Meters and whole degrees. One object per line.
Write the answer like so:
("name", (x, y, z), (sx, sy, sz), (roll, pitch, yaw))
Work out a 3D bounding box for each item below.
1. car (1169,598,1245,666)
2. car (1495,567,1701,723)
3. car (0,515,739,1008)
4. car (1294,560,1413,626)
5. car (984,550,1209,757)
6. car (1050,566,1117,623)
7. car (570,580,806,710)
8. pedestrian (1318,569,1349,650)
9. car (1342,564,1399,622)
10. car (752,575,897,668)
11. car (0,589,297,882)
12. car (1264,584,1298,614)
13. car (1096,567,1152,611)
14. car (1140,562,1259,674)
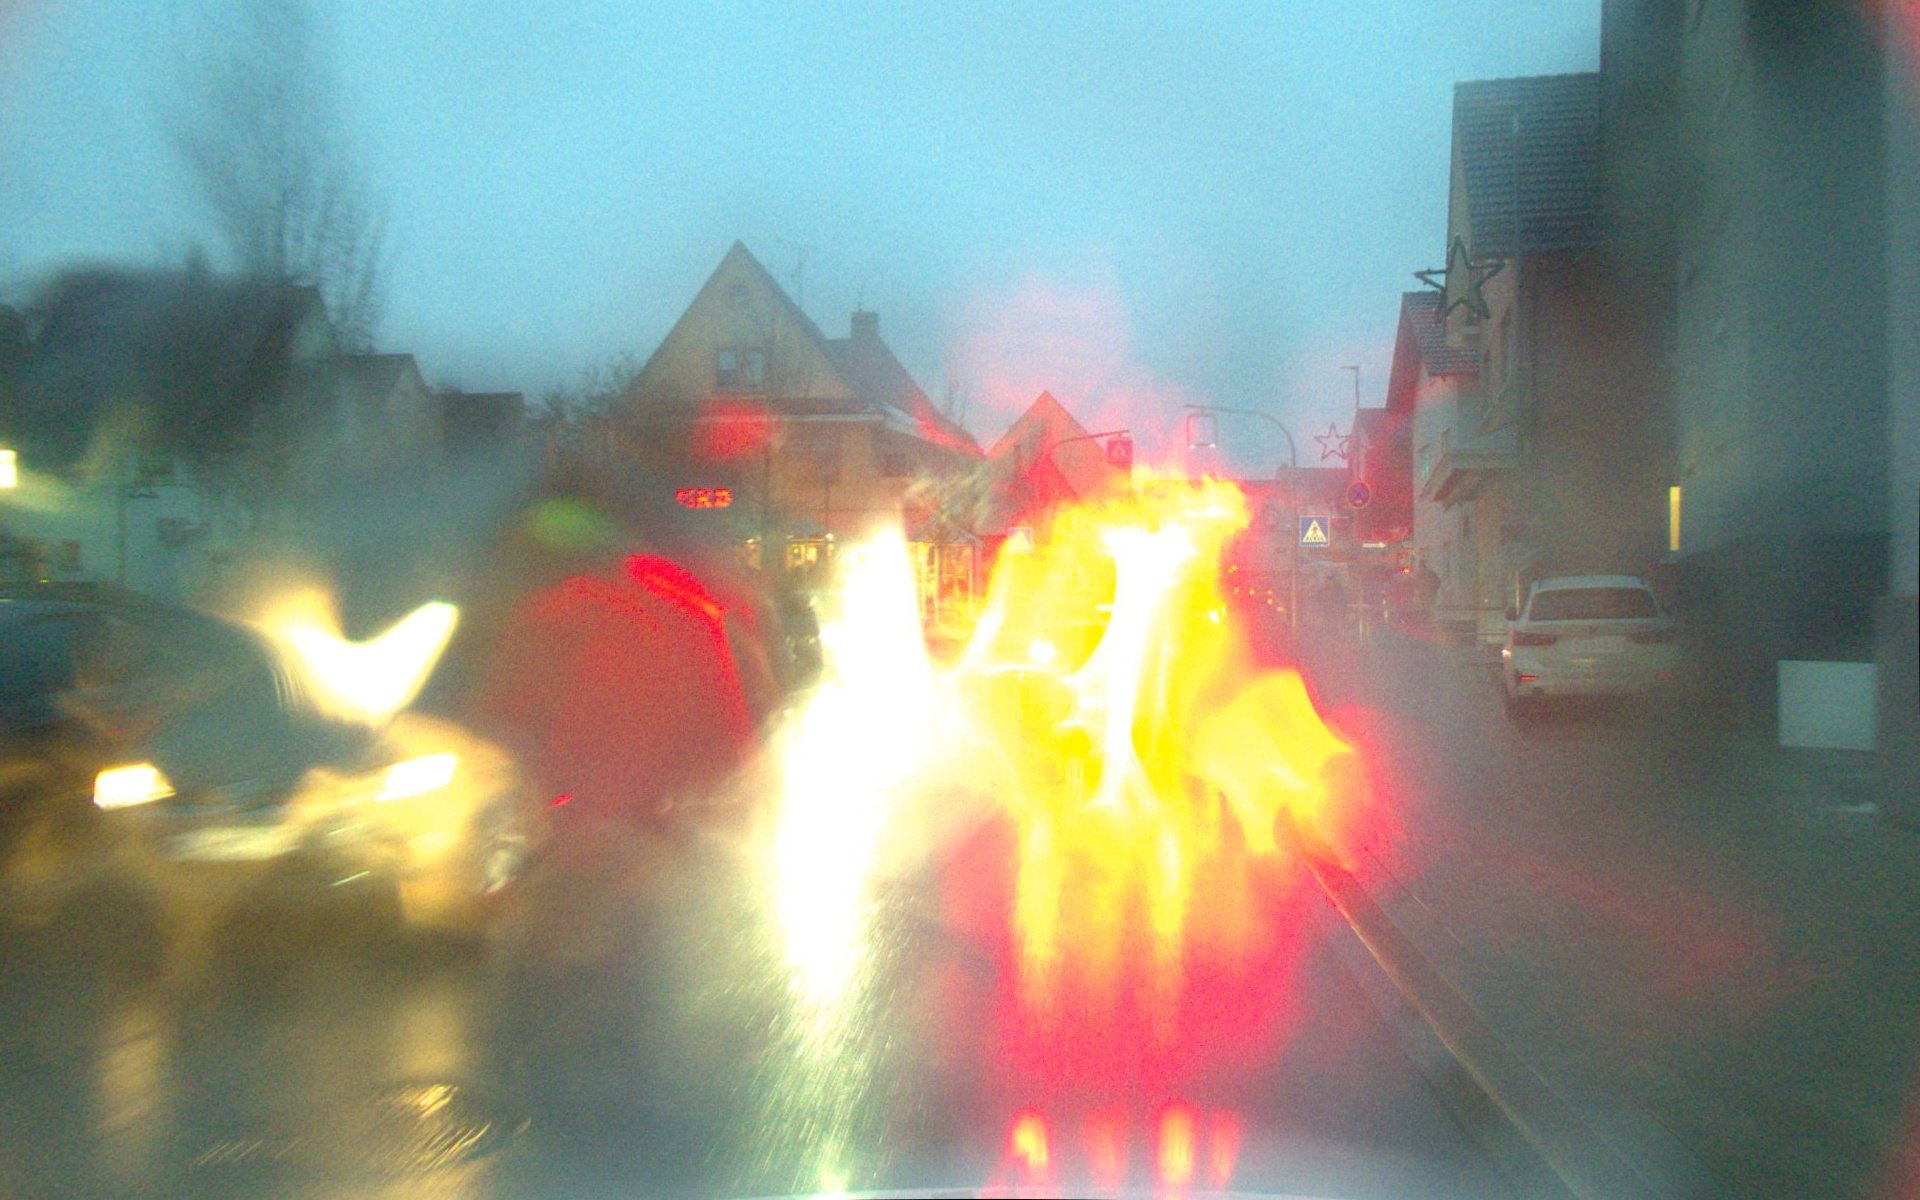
("car", (5.662, 0.697, 38.270), (1.614, 1.467, 3.869), (-1, 0, 7))
("car", (7.024, 0.419, 18.455), (1.844, 1.492, 4.544), (-2, 0, 19))
("car", (-2.787, 0.629, 8.922), (2.096, 1.893, 4.746), (-2, 0, 5))
("car", (12.575, -0.222, 52.906), (3.618, 2.049, 1.690), (1, 0, 14))
("car", (1.551, 0.439, 16.996), (1.951, 1.827, 4.652), (-1, 1, 9))
("car", (4.728, -0.206, 62.649), (1.951, 2.049, 4.365), (0, 0, 12))
("car", (-3.528, 0.535, 22.327), (1.711, 1.543, 4.346), (1, 0, 11))
("pedestrian", (9.014, 0.228, 39.890), (0.649, 1.921, 0.824), (0, 0, 17))
("car", (15.209, -0.275, 61.430), (1.607, 2.049, 4.003), (-2, 0, 8))
("car", (-2.401, 0.359, 30.204), (1.634, 1.543, 4.004), (1, 1, 10))
("car", (-5.707, 0.694, 9.225), (1.709, 1.498, 4.462), (1, 0, 8))
("car", (15.740, -0.057, 81.171), (1.502, 1.266, 3.651), (-5, 1, 10))
("car", (6.902, -0.468, 69.305), (1.951, 1.783, 4.365), (0, 0, 11))
("car", (4.011, 0.267, 27.239), (1.759, 1.691, 4.003), (0, 0, 11))
